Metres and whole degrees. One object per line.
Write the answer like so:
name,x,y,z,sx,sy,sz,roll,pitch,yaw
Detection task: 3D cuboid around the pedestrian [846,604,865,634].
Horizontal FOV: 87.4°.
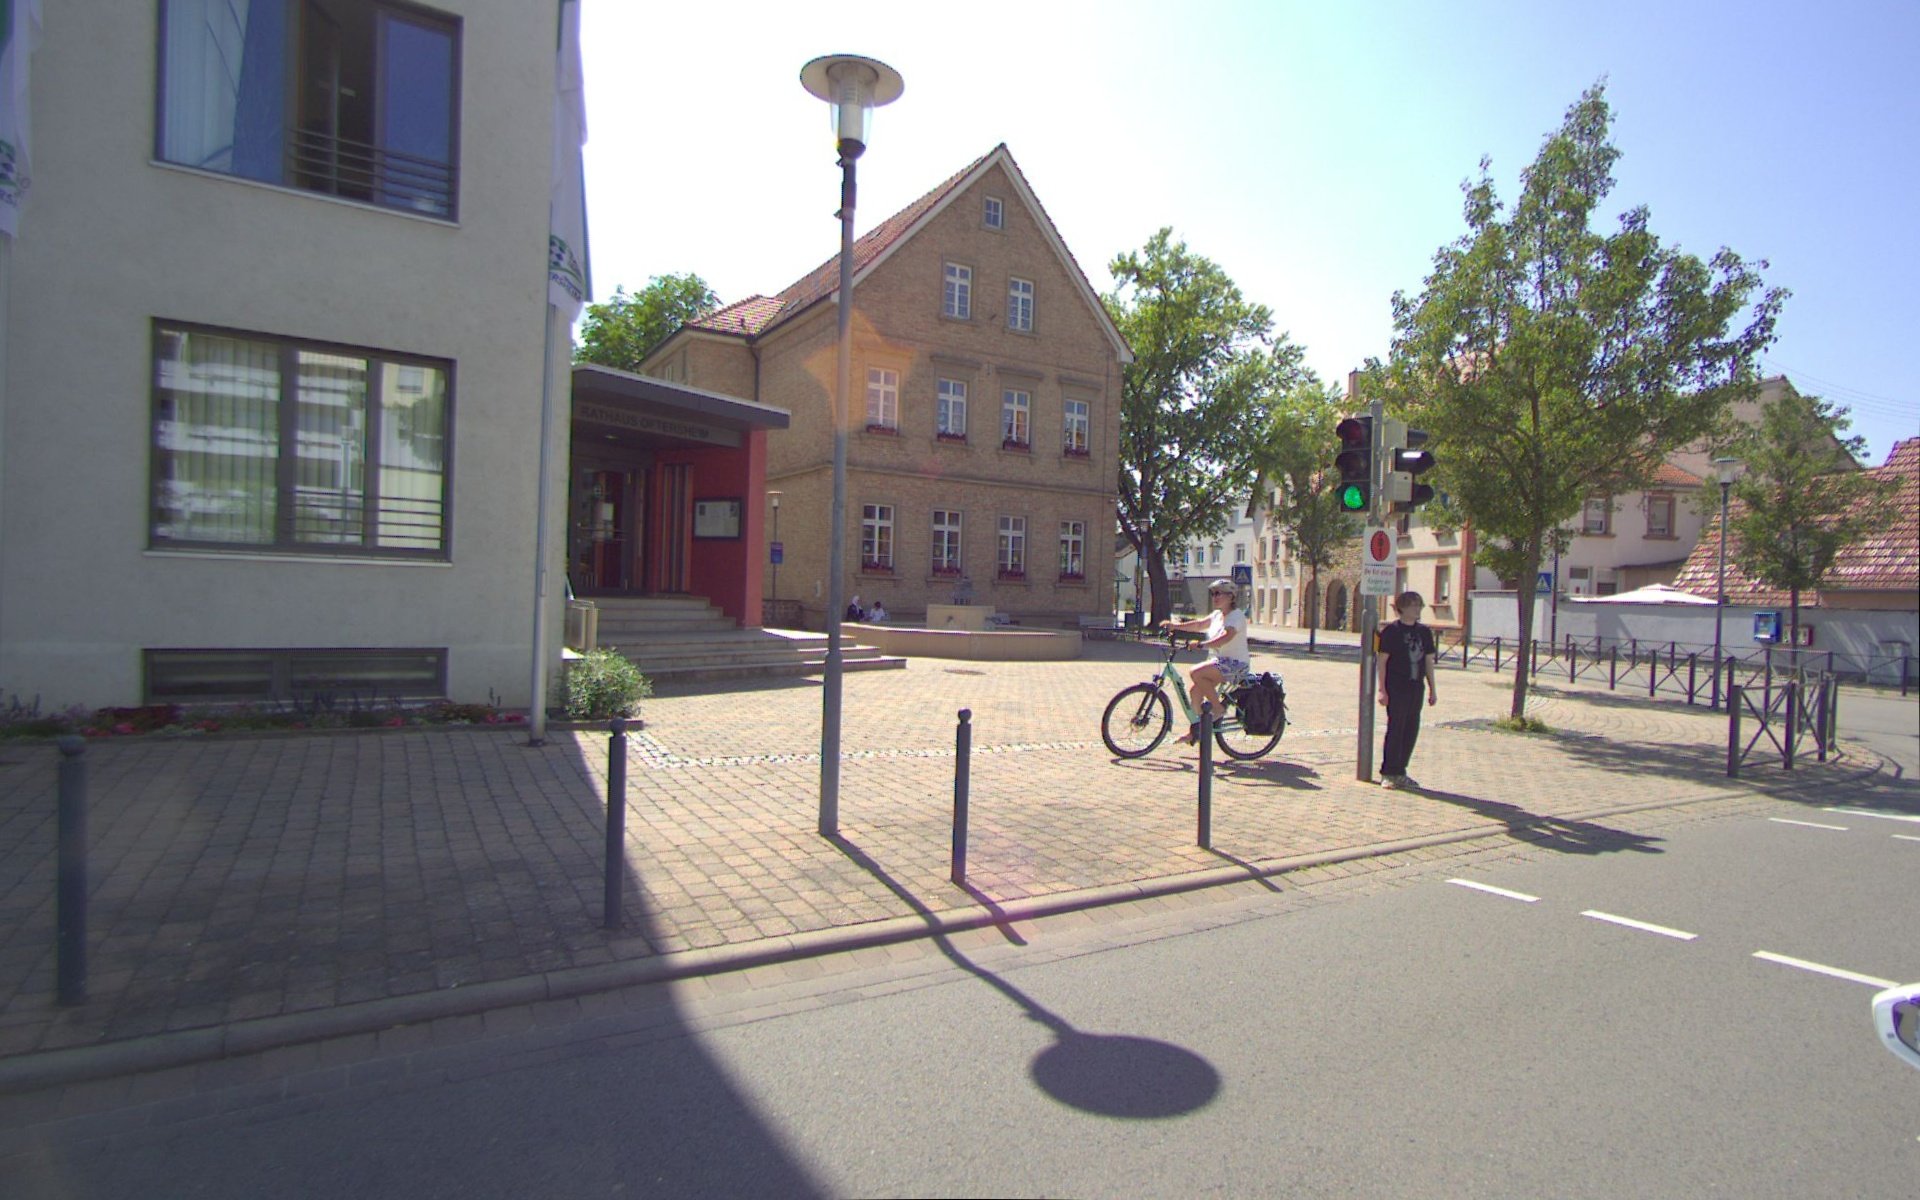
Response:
pedestrian,-2.958,0.544,28.390,0.356,0.828,0.365,2,0,42

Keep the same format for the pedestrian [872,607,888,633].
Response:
pedestrian,-2.304,0.579,28.885,0.352,0.742,0.288,2,0,43

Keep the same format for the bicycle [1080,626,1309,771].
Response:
bicycle,2.172,0.908,9.402,1.936,1.269,0.709,2,0,-10

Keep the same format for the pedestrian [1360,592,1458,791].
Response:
pedestrian,3.880,0.767,8.715,0.546,1.640,0.550,3,0,4

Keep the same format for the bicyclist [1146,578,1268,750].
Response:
bicyclist,2.290,0.583,9.368,0.855,1.526,0.715,2,0,-9
